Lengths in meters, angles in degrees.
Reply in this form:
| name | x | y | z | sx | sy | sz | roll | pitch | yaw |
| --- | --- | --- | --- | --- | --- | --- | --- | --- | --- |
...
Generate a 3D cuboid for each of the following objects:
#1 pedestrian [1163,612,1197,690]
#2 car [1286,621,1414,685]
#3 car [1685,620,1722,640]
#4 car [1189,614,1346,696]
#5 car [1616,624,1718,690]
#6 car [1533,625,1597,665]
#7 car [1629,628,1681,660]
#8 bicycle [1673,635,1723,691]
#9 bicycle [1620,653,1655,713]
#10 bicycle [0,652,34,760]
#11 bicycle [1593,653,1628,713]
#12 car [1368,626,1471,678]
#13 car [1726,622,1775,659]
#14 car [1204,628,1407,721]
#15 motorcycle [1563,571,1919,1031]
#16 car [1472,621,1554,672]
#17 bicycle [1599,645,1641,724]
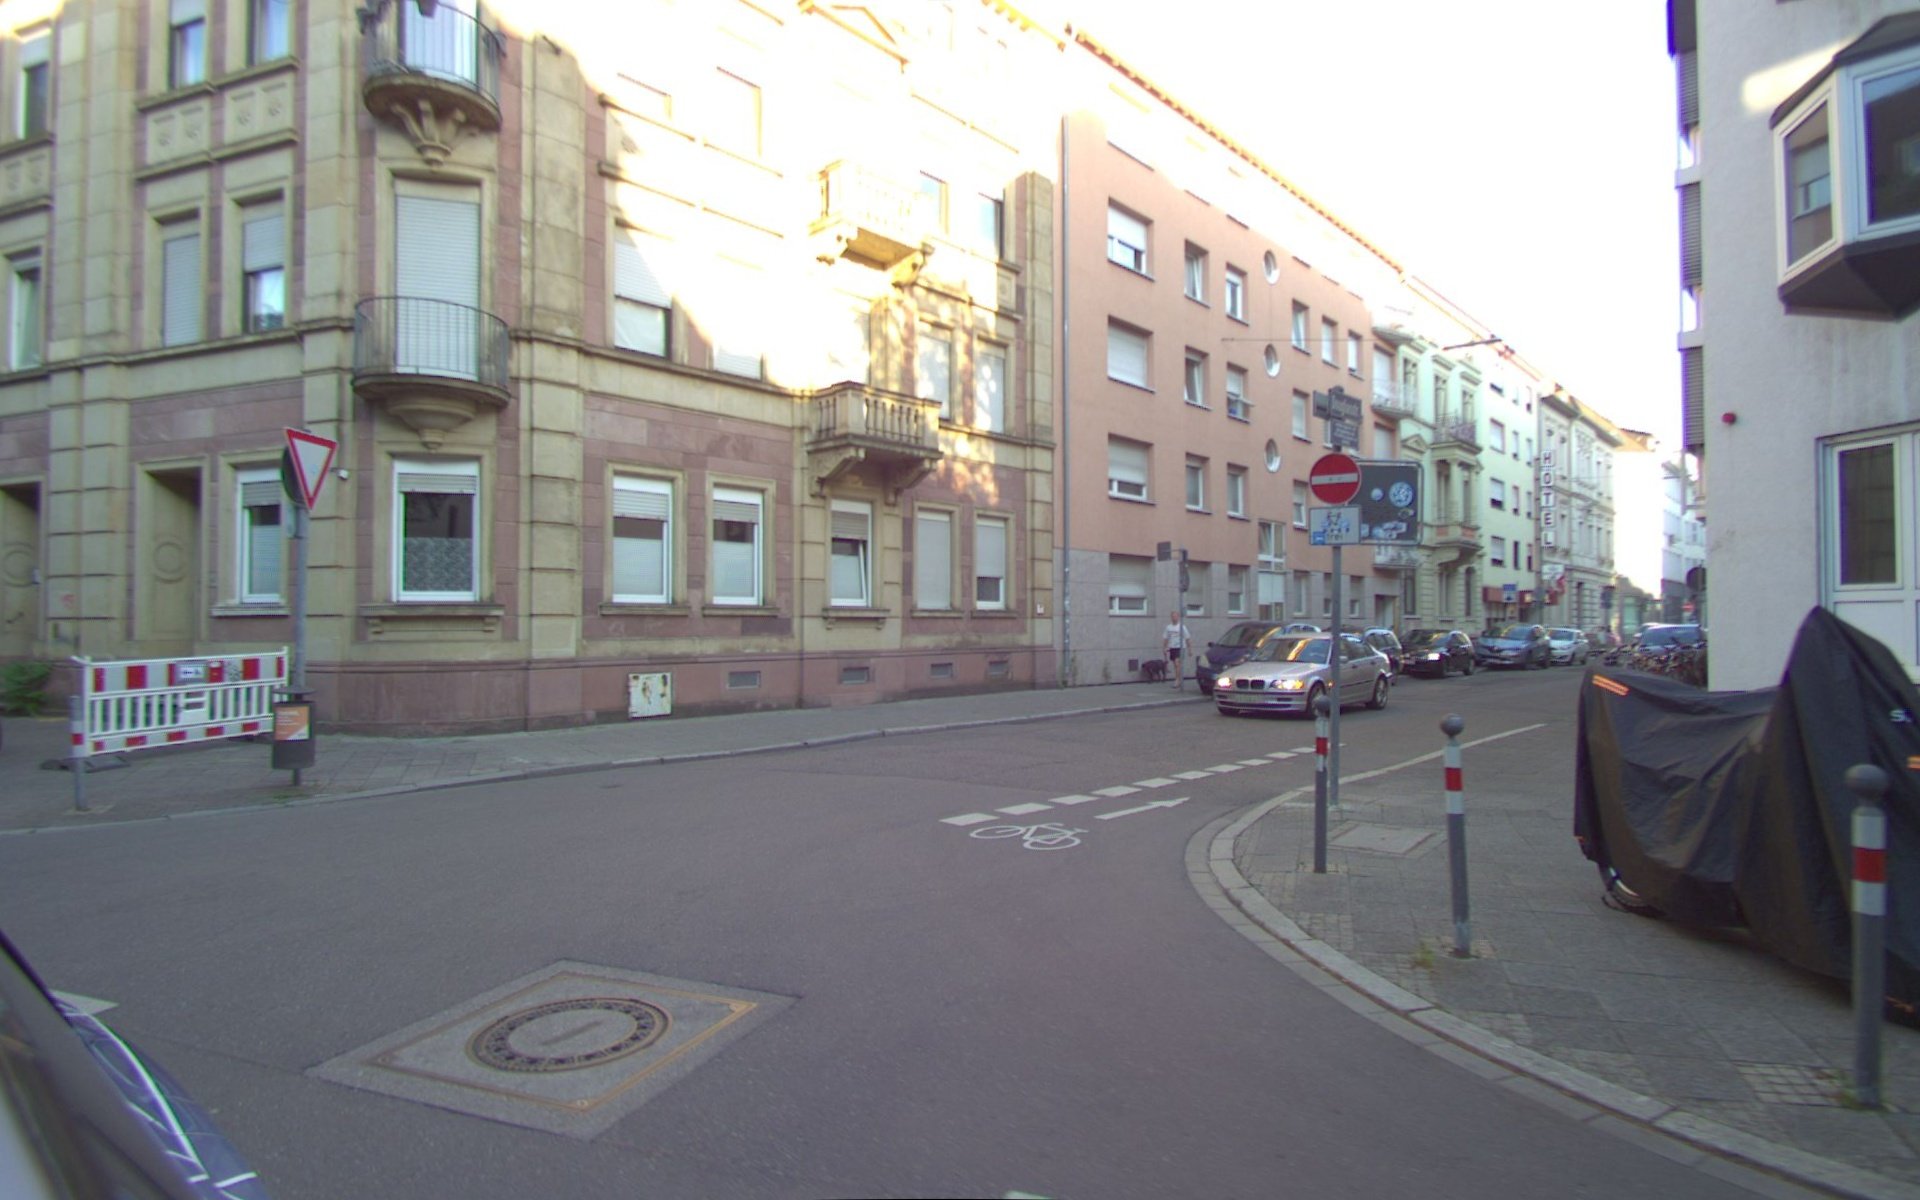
| name | x | y | z | sx | sy | sz | roll | pitch | yaw |
| --- | --- | --- | --- | --- | --- | --- | --- | --- | --- |
| pedestrian | 5.043 | 1.173 | 23.246 | 0.551 | 1.757 | 0.560 | -2 | -3 | 42 |
| car | 10.287 | 1.343 | 26.529 | 1.695 | 1.525 | 4.223 | -2 | -3 | 42 |
| car | 56.080 | 2.270 | 76.319 | 1.731 | 1.409 | 3.836 | -3 | -3 | 43 |
| car | 6.844 | 1.160 | 22.305 | 1.695 | 1.637 | 3.996 | -3 | -3 | 43 |
| car | 18.714 | 1.451 | 26.722 | 1.795 | 1.588 | 4.015 | -2 | -3 | 41 |
| car | 25.076 | 1.855 | 41.905 | 1.575 | 1.591 | 3.539 | -2 | -3 | 42 |
| car | 41.620 | 2.614 | 60.583 | 1.844 | 1.708 | 4.296 | 4 | 2 | 44 |
| bicycle | 16.571 | 1.395 | 22.703 | 0.597 | 1.196 | 2.233 | -3 | -3 | 43 |
| bicycle | 11.486 | 1.386 | 17.150 | 0.307 | 0.939 | 1.789 | -2 | -3 | 39 |
| bicycle | -10.925 | 1.126 | 11.101 | 1.857 | 1.097 | 0.362 | 0 | 0 | 22 |
| bicycle | 11.213 | 1.408 | 17.438 | 0.307 | 0.939 | 1.789 | -3 | -3 | 38 |
| car | 14.122 | 1.550 | 31.026 | 1.695 | 1.469 | 4.074 | -2 | -3 | 42 |
| car | 37.871 | 1.918 | 48.443 | 1.642 | 1.724 | 3.732 | -2 | -3 | 40 |
| car | 6.144 | 1.226 | 17.701 | 1.682 | 1.414 | 4.408 | -4 | -4 | 42 |
| motorcycle | 3.598 | 0.710 | 4.367 | 0.660 | 1.567 | 2.162 | 0 | -2 | 0 |
| car | 20.285 | 1.675 | 37.077 | 1.695 | 1.754 | 4.051 | -2 | -3 | 42 |
| bicycle | 10.039 | 1.256 | 15.384 | 0.401 | 1.111 | 1.790 | -2 | -3 | 36 |
